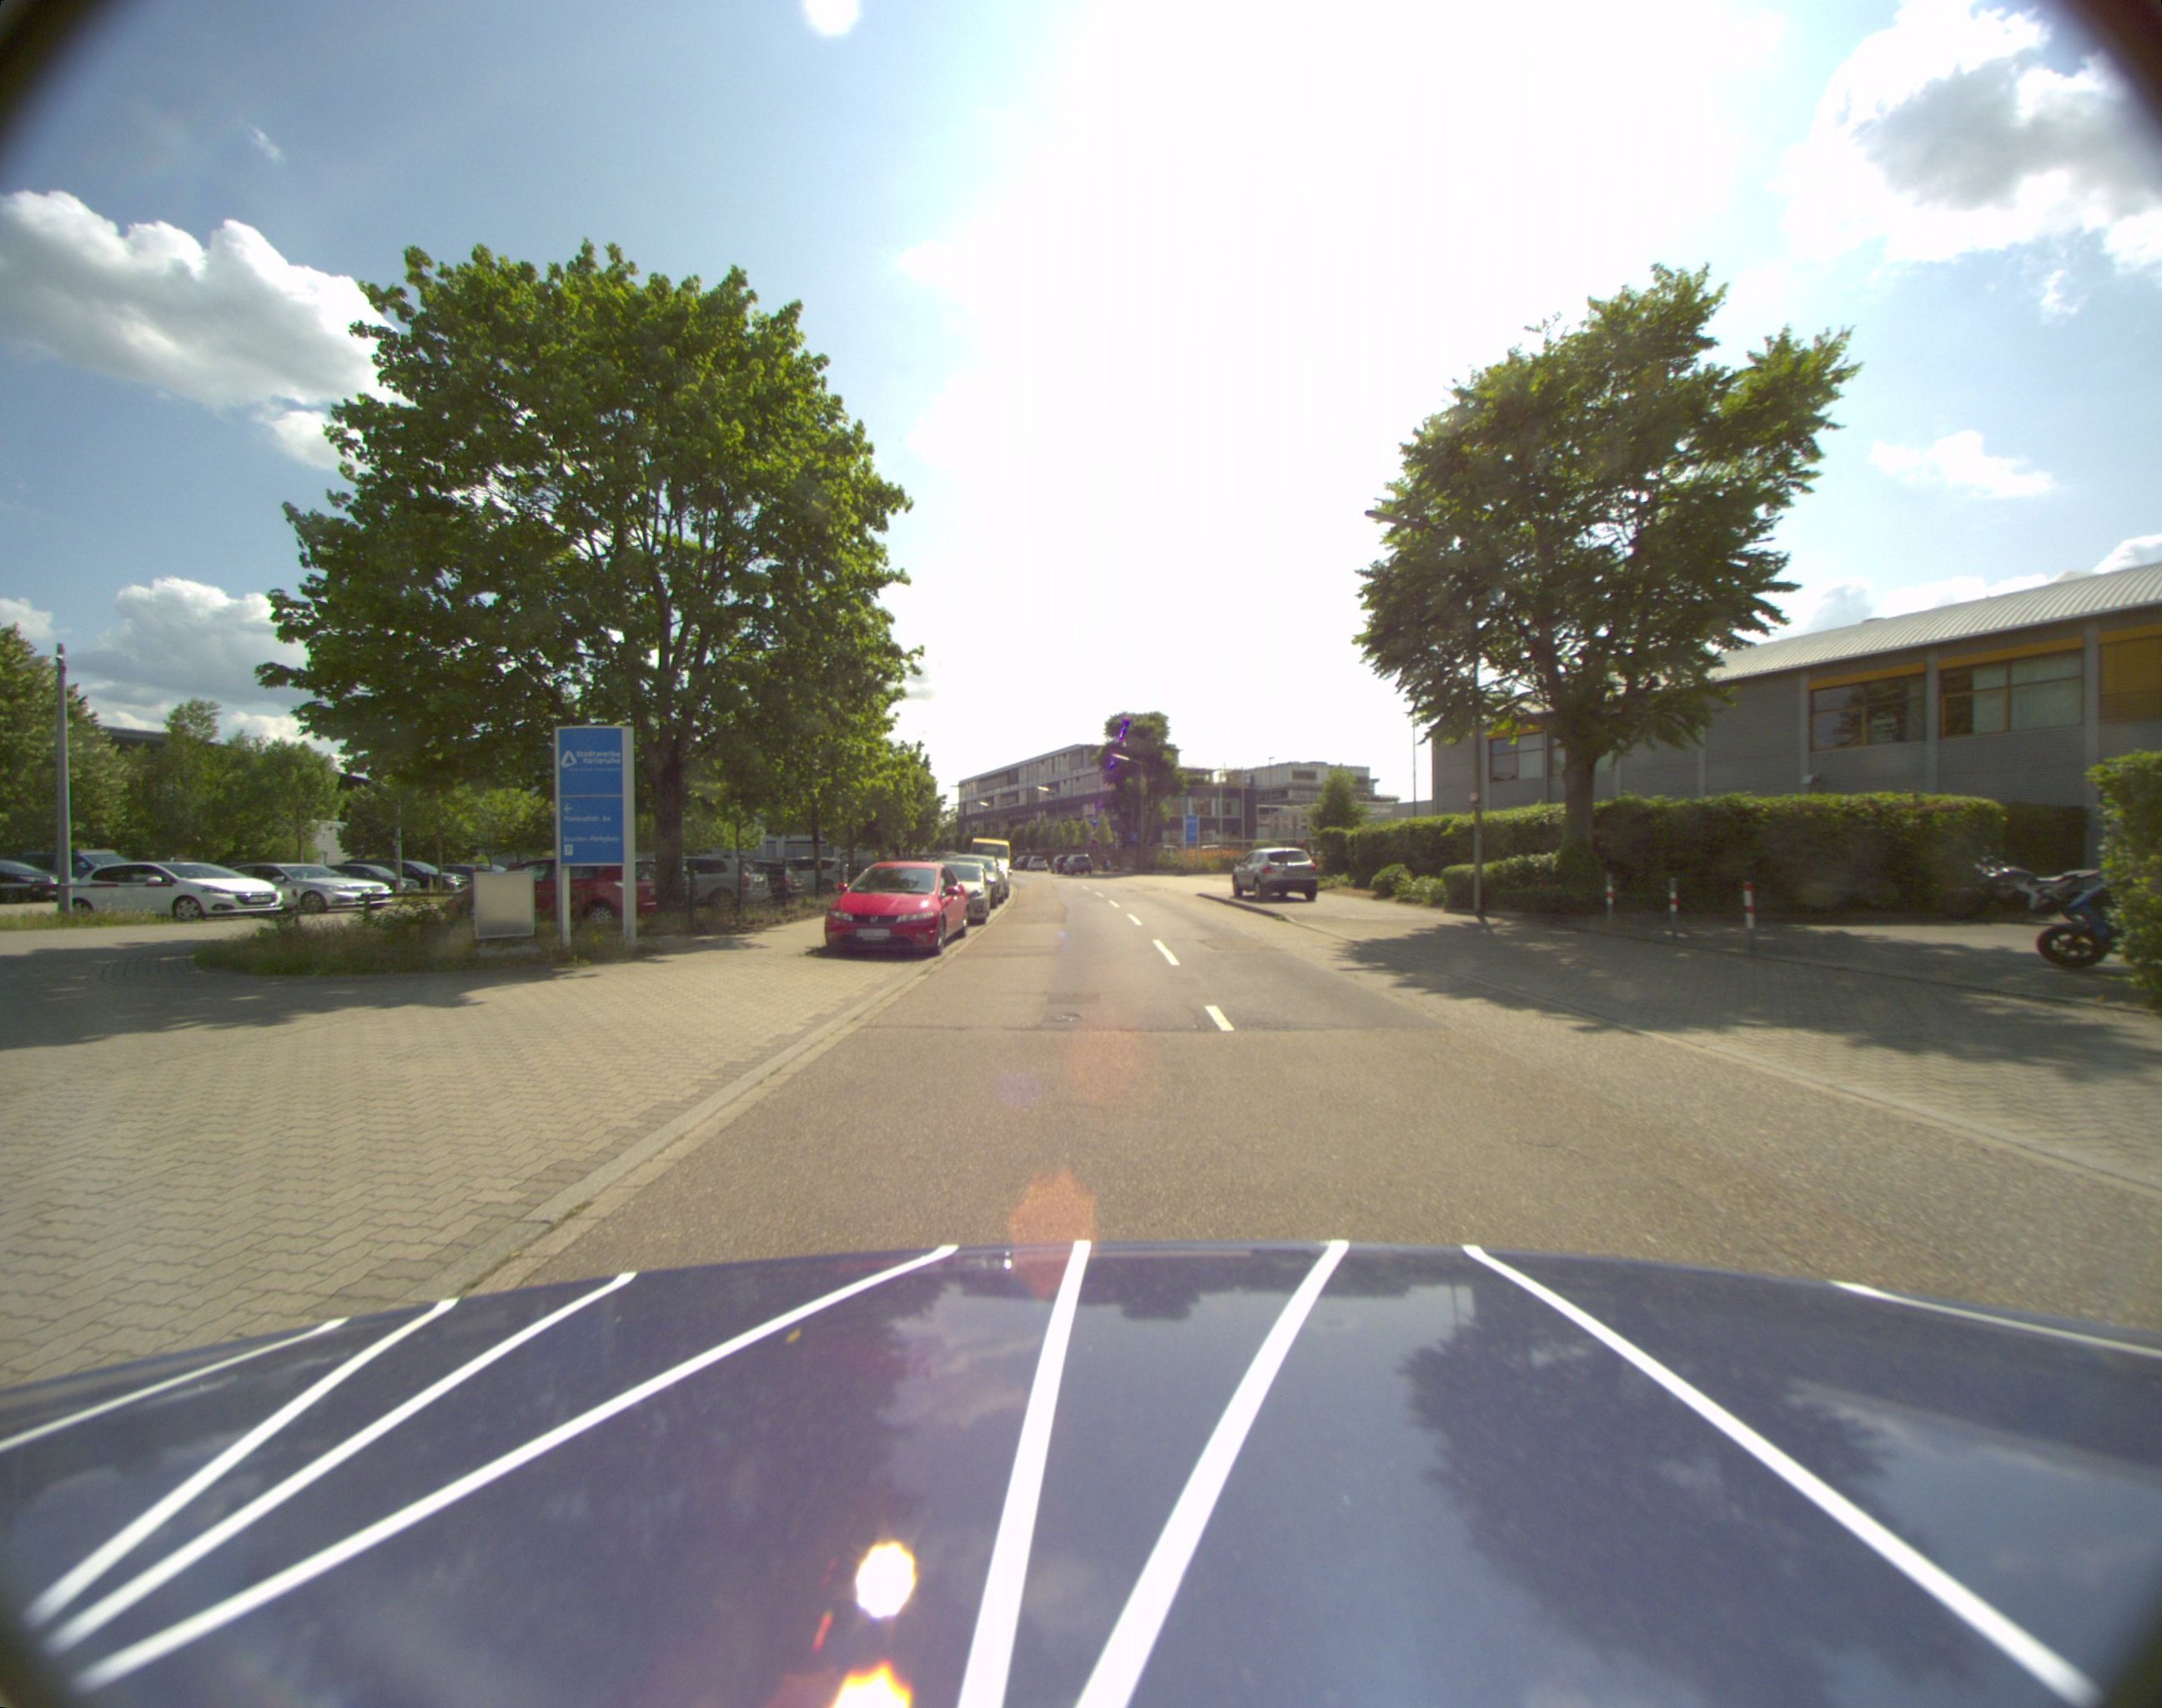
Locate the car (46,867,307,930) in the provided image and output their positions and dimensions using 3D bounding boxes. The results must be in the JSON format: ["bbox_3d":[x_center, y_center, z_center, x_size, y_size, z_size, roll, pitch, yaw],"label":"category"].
[{"bbox_3d":[-21.777,1.023,18.456,3.764,1.387,2.013,-1,0,-4],"label":"car"}]

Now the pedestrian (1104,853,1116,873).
[{"bbox_3d":[2.444,0.765,64.710,0.845,1.681,0.830,-2,1,-8],"label":"pedestrian"}]

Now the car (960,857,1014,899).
[{"bbox_3d":[-3.655,0.875,30.281,1.881,1.468,5.165,2,0,-5],"label":"car"}]

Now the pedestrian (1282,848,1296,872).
[{"bbox_3d":[14.941,0.458,54.651,0.550,1.682,0.732,-1,3,-28],"label":"pedestrian"}]

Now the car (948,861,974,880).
[{"bbox_3d":[-11.646,1.569,73.723,1.868,1.672,4.704,2,-1,-16],"label":"car"}]

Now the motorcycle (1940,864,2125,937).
[{"bbox_3d":[16.954,0.787,13.610,0.535,1.195,2.002,0,0,-26],"label":"motorcycle"}]

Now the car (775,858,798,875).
[{"bbox_3d":[-29.948,1.308,77.175,1.830,1.638,3.329,-2,0,-27],"label":"car"}]

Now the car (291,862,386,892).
[{"bbox_3d":[-48.994,1.509,50.223,4.000,1.760,1.998,-2,0,-9],"label":"car"}]

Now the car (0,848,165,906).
[{"bbox_3d":[-40.515,0.912,30.246,4.942,2.091,2.109,-2,0,-9],"label":"car"}]

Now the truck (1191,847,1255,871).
[{"bbox_3d":[16.074,0.586,85.913,6.944,2.642,2.400,0,0,-26],"label":"truck"}]

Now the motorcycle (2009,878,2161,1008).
[{"bbox_3d":[10.890,0.899,7.630,0.533,1.213,2.085,0,1,-1],"label":"motorcycle"}]

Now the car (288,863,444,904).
[{"bbox_3d":[-29.310,1.184,31.297,4.282,1.548,1.998,-1,0,-9],"label":"car"}]

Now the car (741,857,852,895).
[{"bbox_3d":[-12.463,0.972,33.506,4.332,1.611,1.761,1,0,-11],"label":"car"}]

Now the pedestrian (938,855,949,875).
[{"bbox_3d":[-12.010,0.955,66.314,0.724,1.683,0.738,3,-1,-17],"label":"pedestrian"}]

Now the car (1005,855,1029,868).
[{"bbox_3d":[-7.573,0.921,89.588,1.741,1.436,3.923,-2,0,-22],"label":"car"}]

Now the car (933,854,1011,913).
[{"bbox_3d":[-3.335,0.850,24.093,1.837,1.598,4.568,3,0,-1],"label":"car"}]

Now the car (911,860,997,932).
[{"bbox_3d":[-2.978,0.933,18.485,1.705,1.477,3.805,3,0,-5],"label":"car"}]

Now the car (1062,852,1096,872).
[{"bbox_3d":[-0.203,0.661,64.995,1.806,1.641,4.684,-2,0,-14],"label":"car"}]

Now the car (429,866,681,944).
[{"bbox_3d":[-11.412,1.071,16.714,4.219,1.584,1.910,0,0,1],"label":"car"}]

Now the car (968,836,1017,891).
[{"bbox_3d":[-4.301,0.448,37.626,2.163,2.450,6.636,1,0,-5],"label":"car"}]

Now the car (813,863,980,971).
[{"bbox_3d":[-2.979,0.949,13.239,1.758,1.477,4.225,3,0,1],"label":"car"}]

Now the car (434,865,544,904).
[{"bbox_3d":[-31.272,1.568,40.280,4.095,1.924,1.996,-1,0,-11],"label":"car"}]

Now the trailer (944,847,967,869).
[{"bbox_3d":[-12.880,0.430,77.903,1.753,2.055,3.941,2,-1,-18],"label":"trailer"}]

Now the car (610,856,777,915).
[{"bbox_3d":[-11.230,0.889,22.212,3.884,1.627,1.910,0,0,1],"label":"car"}]

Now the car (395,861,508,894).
[{"bbox_3d":[-30.137,1.145,36.469,3.762,1.404,1.752,-2,-2,-11],"label":"car"}]

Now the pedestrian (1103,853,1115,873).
[{"bbox_3d":[2.394,0.766,65.841,0.831,1.751,0.845,-2,1,-8],"label":"pedestrian"}]

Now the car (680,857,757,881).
[{"bbox_3d":[-27.234,1.120,57.211,4.868,1.756,1.913,0,0,-13],"label":"car"}]

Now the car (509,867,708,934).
[{"bbox_3d":[-11.947,1.155,19.418,3.884,1.584,1.910,0,0,1],"label":"car"}]

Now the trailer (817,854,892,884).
[{"bbox_3d":[-16.398,1.080,55.198,5.066,2.070,2.059,0,0,-14],"label":"trailer"}]

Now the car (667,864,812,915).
[{"bbox_3d":[-11.076,1.125,24.838,3.884,1.584,1.910,0,0,1],"label":"car"}]

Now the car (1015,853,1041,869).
[{"bbox_3d":[-5.921,0.764,84.736,1.741,1.646,4.304,-1,0,-20],"label":"car"}]

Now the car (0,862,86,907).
[{"bbox_3d":[-39.638,1.133,27.562,4.000,1.548,1.999,-2,0,-8],"label":"car"}]

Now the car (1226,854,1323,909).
[{"bbox_3d":[6.054,0.808,24.312,1.762,1.565,4.476,-1,0,-3],"label":"car"}]

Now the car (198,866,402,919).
[{"bbox_3d":[-21.896,1.058,21.404,4.012,1.387,1.845,-1,0,4],"label":"car"}]

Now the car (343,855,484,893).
[{"bbox_3d":[-29.676,0.867,33.899,4.282,1.548,1.998,-1,0,-9],"label":"car"}]

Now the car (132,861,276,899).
[{"bbox_3d":[-40.294,1.176,35.005,4.000,1.548,1.889,-2,0,-9],"label":"car"}]

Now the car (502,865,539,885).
[{"bbox_3d":[-50.265,1.840,68.181,1.960,1.539,3.991,-2,1,-27],"label":"car"}]

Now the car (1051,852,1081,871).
[{"bbox_3d":[-1.406,0.701,70.335,1.782,1.672,4.225,-2,0,-15],"label":"car"}]

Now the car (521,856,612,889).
[{"bbox_3d":[-31.224,1.101,46.266,4.095,1.924,1.996,-1,0,-11],"label":"car"}]

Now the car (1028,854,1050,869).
[{"bbox_3d":[-4.434,0.760,80.379,1.615,1.514,3.070,-1,0,-18],"label":"car"}]
